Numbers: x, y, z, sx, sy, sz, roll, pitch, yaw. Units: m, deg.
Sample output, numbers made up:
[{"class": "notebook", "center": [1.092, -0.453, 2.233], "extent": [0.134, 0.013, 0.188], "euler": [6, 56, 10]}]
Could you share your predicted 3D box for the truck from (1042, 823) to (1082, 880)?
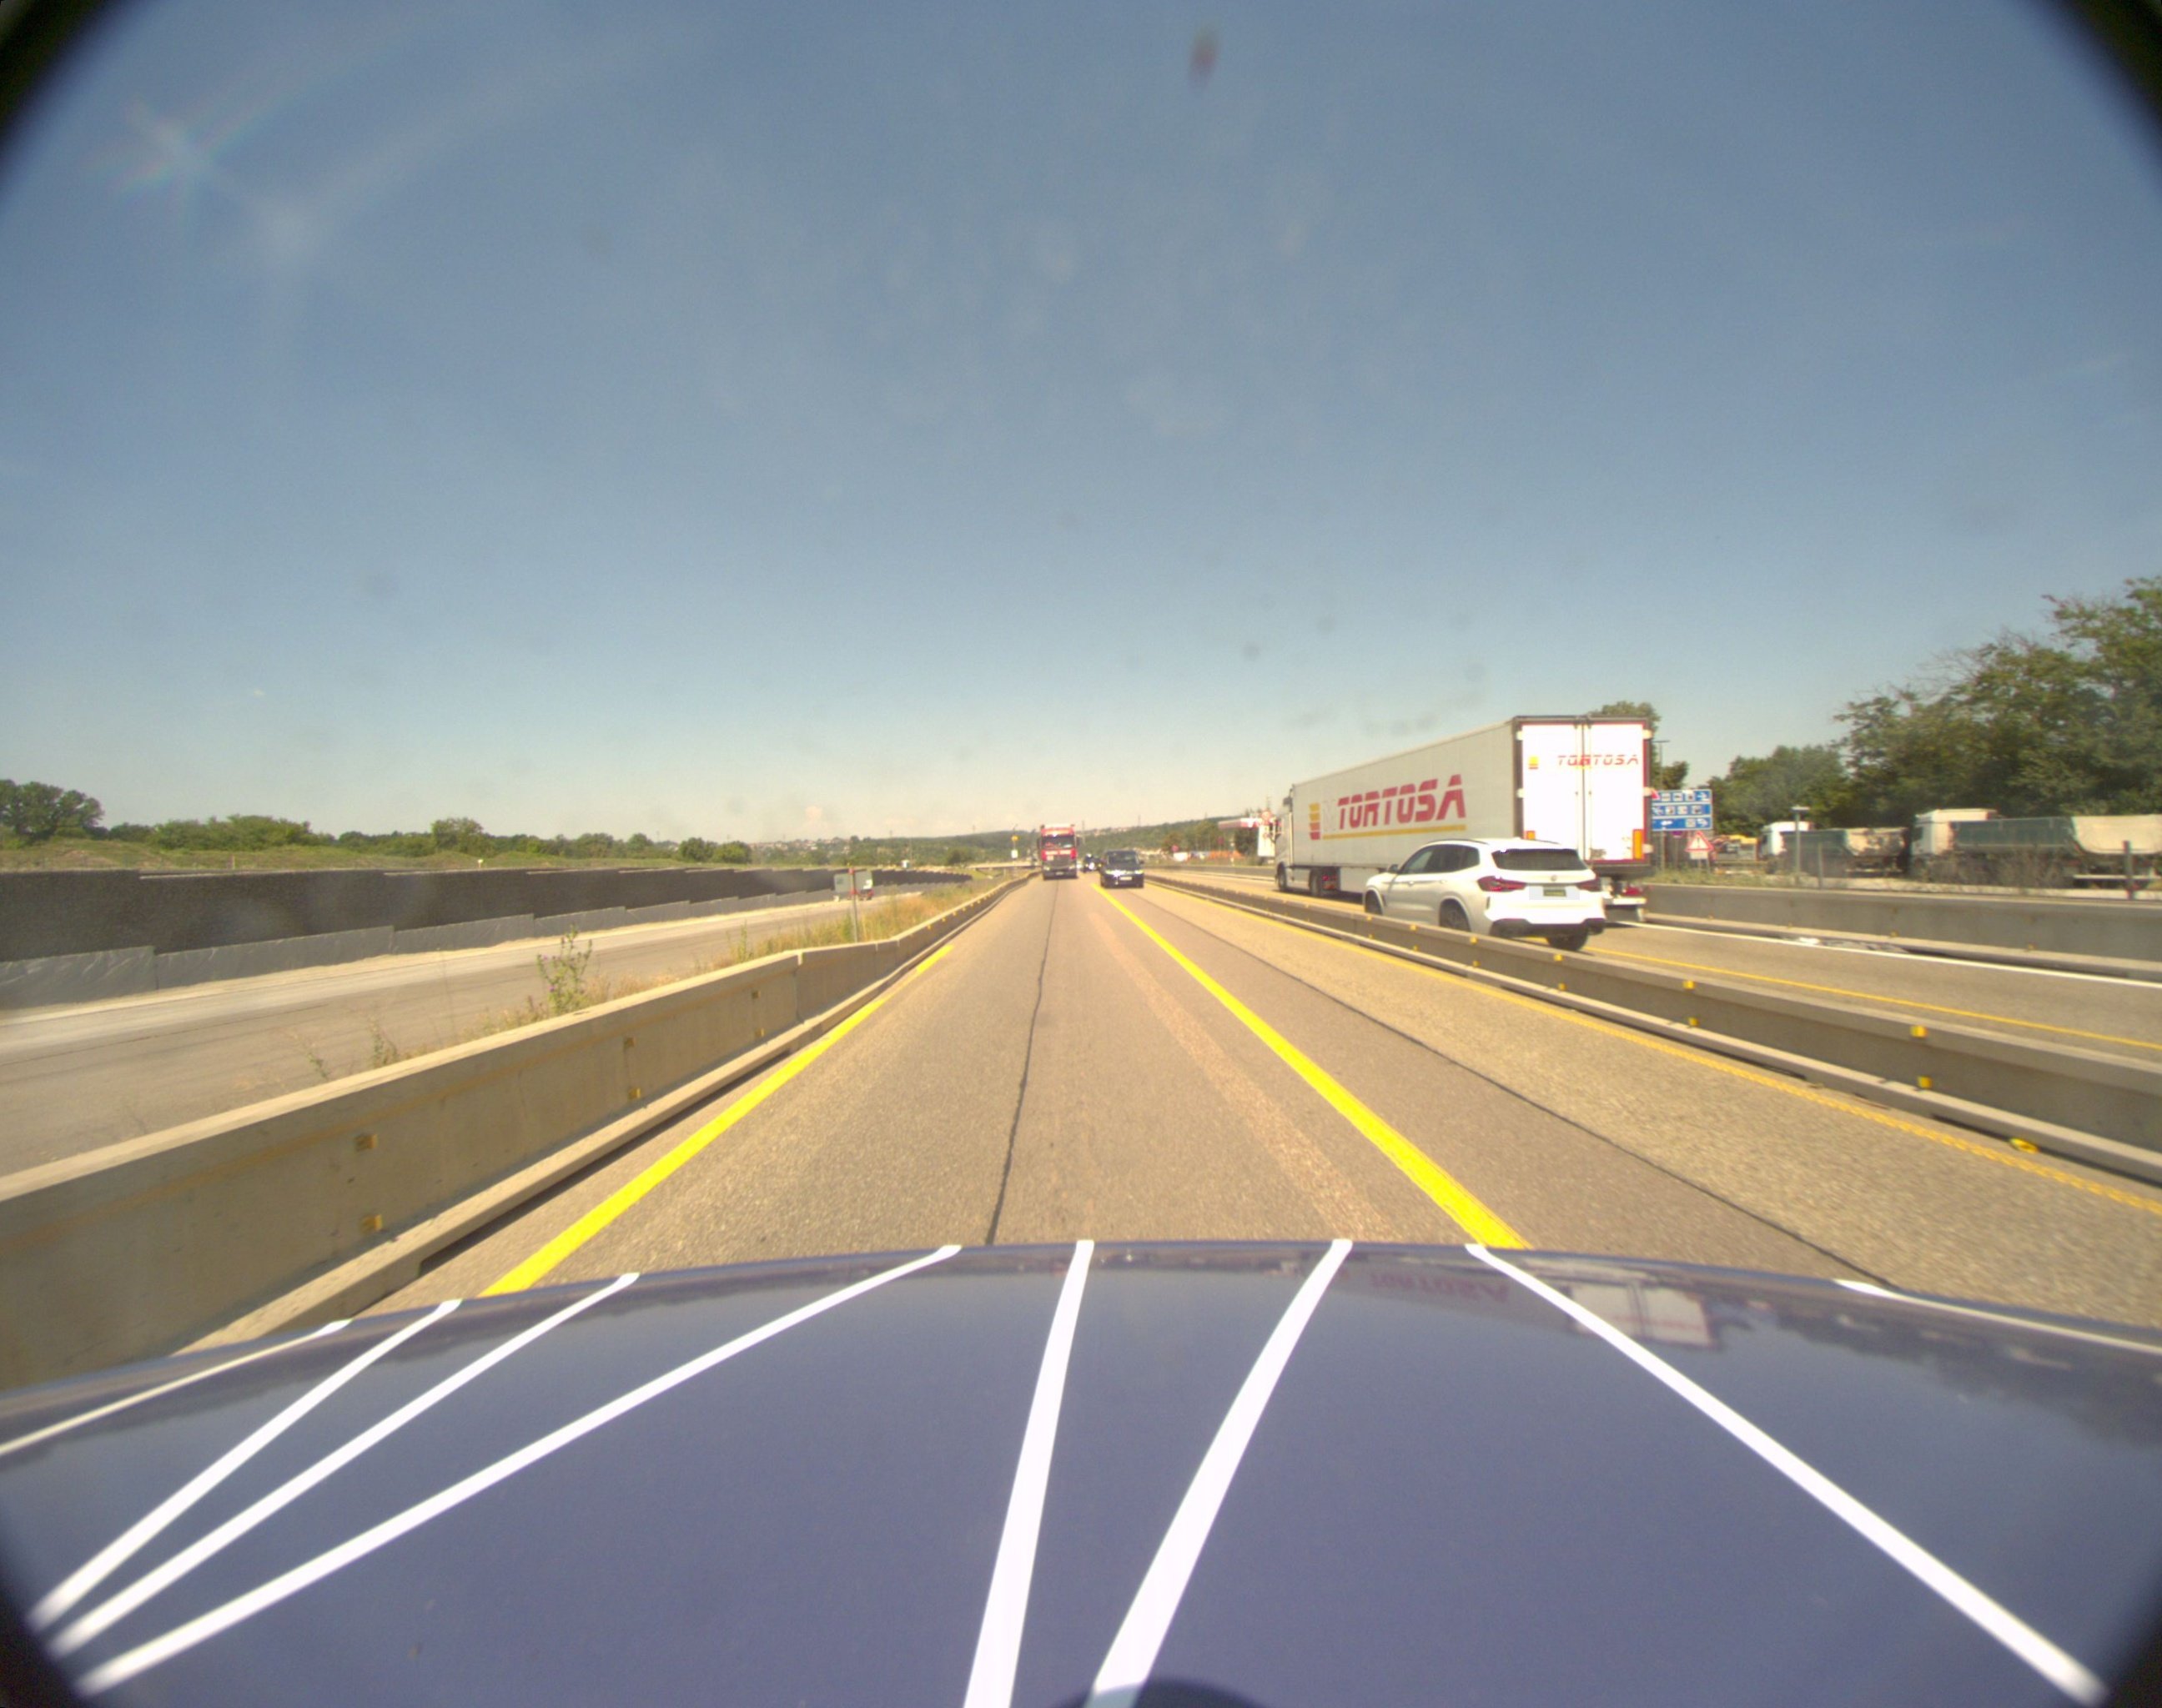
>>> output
[{"class": "truck", "center": [-1.318, -0.206, 55.505], "extent": [2.627, 3.881, 4.933], "euler": [-2, 1, 0]}]

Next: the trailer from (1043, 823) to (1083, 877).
[{"class": "trailer", "center": [-1.308, -0.326, 61.895], "extent": [2.701, 3.852, 12.421], "euler": [-2, 0, 1]}]

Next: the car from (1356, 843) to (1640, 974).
[{"class": "car", "center": [6.325, 0.702, 12.282], "extent": [1.999, 1.729, 4.491], "euler": [0, 0, -2]}]

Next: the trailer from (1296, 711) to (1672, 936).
[{"class": "trailer", "center": [9.308, -0.540, 20.582], "extent": [2.823, 4.070, 13.121], "euler": [-2, 0, -1]}]

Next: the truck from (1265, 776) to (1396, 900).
[{"class": "truck", "center": [9.080, -0.561, 28.345], "extent": [2.838, 4.108, 5.457], "euler": [-2, 1, -2]}]

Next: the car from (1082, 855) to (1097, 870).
[{"class": "car", "center": [0.822, 0.877, 78.185], "extent": [1.427, 1.477, 3.414], "euler": [-2, 1, -1]}]

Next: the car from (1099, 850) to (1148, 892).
[{"class": "car", "center": [1.916, 0.733, 35.550], "extent": [1.926, 1.779, 4.602], "euler": [-1, 0, -1]}]

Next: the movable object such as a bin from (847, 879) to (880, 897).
[{"class": "movable object such as a bin", "center": [-30.530, 4.760, 106.568], "extent": [4.139, 2.135, 1.759], "euler": [-2, 1, -28]}]
